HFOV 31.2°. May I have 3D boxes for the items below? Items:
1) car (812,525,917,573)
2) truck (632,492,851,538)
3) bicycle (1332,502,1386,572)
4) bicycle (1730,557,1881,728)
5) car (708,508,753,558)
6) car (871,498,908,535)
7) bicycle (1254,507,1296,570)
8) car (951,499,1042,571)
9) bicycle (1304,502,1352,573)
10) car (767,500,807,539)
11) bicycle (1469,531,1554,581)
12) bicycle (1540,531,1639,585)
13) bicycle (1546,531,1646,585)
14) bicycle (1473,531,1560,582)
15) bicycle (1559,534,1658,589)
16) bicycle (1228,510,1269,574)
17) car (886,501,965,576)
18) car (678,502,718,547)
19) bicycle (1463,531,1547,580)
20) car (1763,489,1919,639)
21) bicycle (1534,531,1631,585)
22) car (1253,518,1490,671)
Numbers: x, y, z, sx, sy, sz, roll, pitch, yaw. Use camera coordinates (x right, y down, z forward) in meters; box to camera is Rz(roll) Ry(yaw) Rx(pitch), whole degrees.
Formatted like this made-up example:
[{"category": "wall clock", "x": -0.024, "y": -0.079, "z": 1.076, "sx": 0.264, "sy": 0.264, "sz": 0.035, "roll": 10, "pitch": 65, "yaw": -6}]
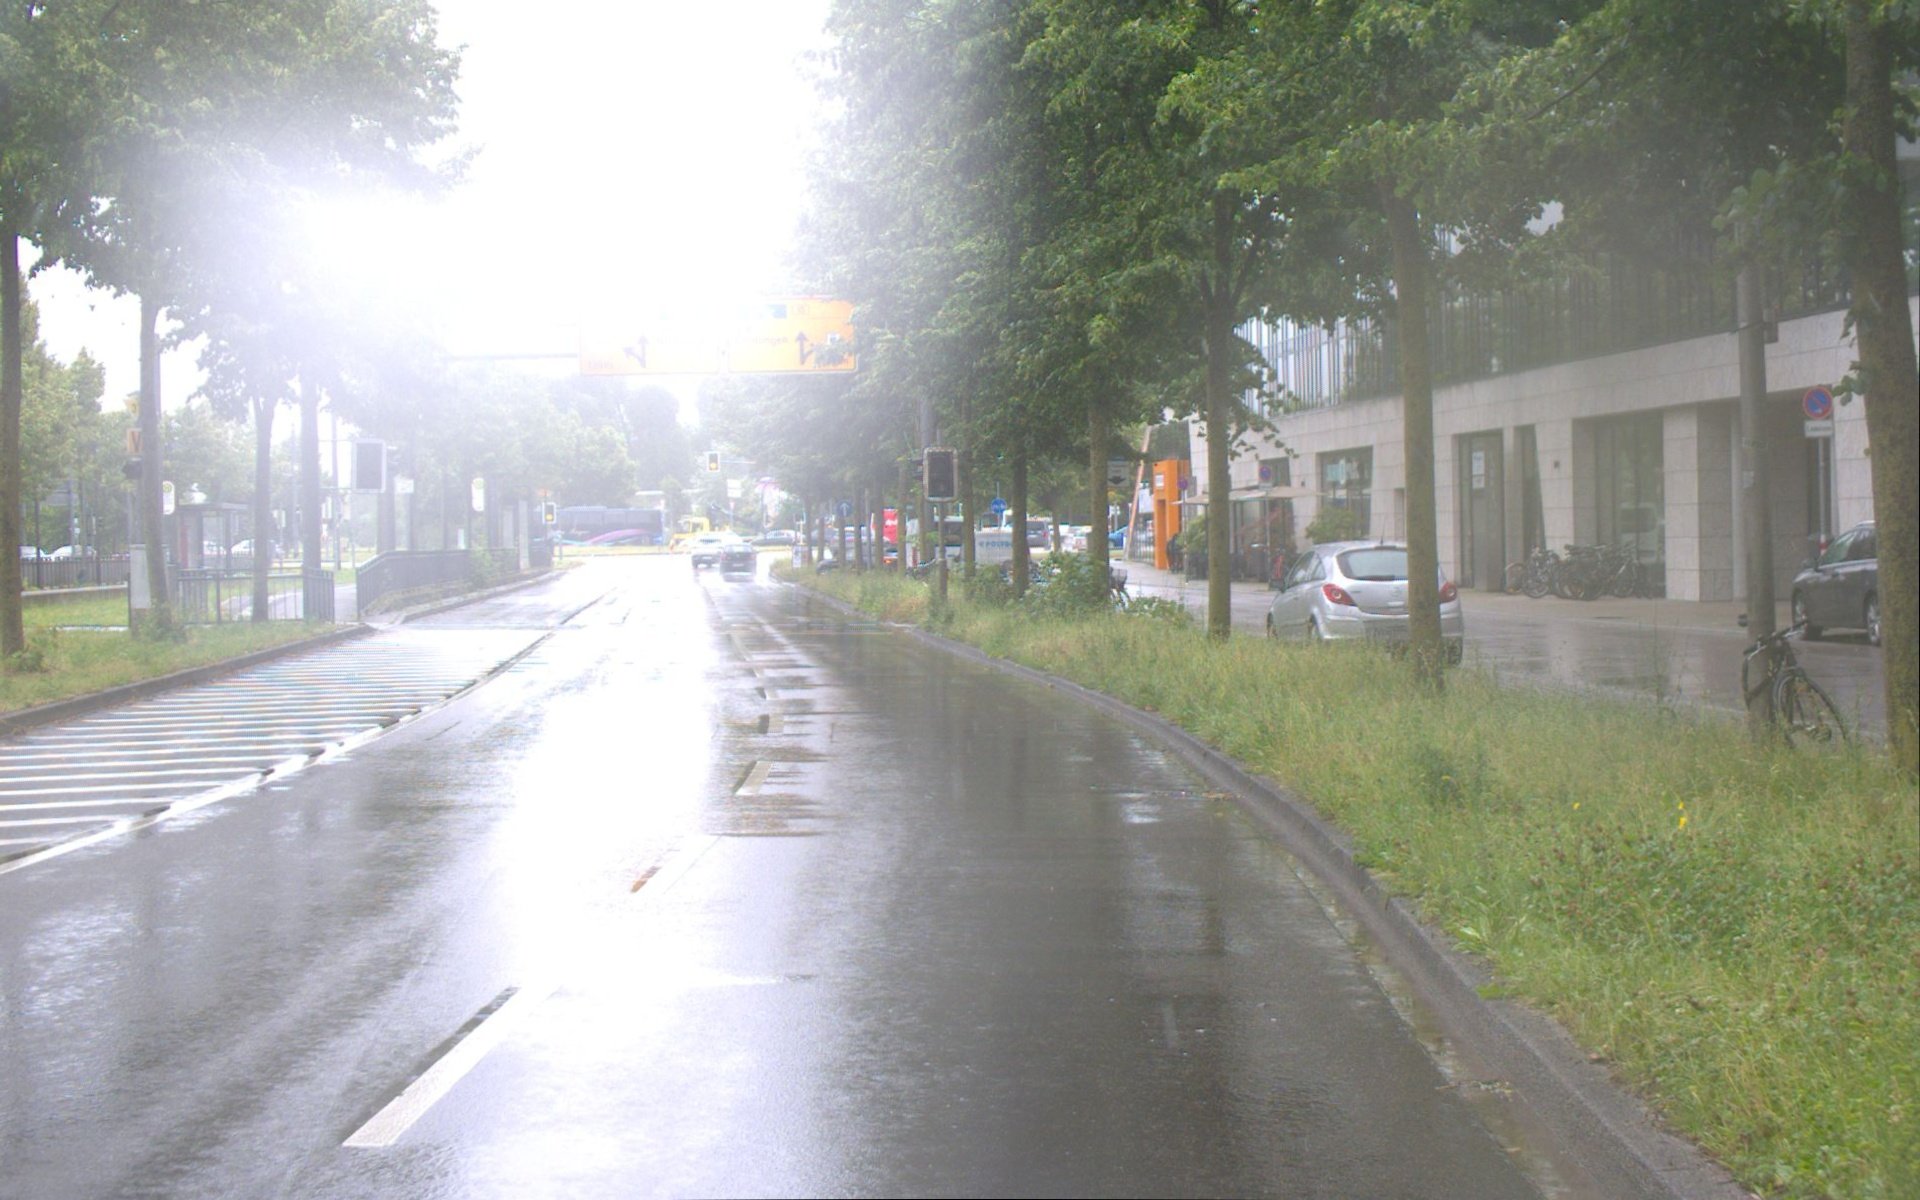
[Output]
[{"category": "car", "x": -3.454, "y": -1.837, "z": 123.777, "sx": 1.815, "sy": 1.539, "sz": 4.000, "roll": -3, "pitch": 4, "yaw": -37}, {"category": "truck", "x": -15.139, "y": -5.871, "z": 238.173, "sx": 14.854, "sy": 3.136, "sz": 3.524, "roll": 0, "pitch": 1, "yaw": -11}, {"category": "bicycle", "x": 10.452, "y": -1.666, "z": 90.205, "sx": 0.772, "sy": 1.716, "sz": 3.121, "roll": -1, "pitch": 3, "yaw": -5}, {"category": "bicycle", "x": 4.749, "y": 0.215, "z": 19.393, "sx": 0.342, "sy": 0.819, "sz": 1.903, "roll": -1, "pitch": 3, "yaw": -1}, {"category": "car", "x": -10.223, "y": -2.983, "z": 152.736, "sx": 1.940, "sy": 2.006, "sz": 4.001, "roll": -1, "pitch": 3, "yaw": -4}, {"category": "car", "x": -4.151, "y": -4.923, "z": 202.545, "sx": 1.993, "sy": 2.006, "sz": 4.001, "roll": -1, "pitch": 3, "yaw": -3}, {"category": "bicycle", "x": 9.166, "y": -1.803, "z": 100.126, "sx": 0.644, "sy": 1.716, "sz": 3.121, "roll": -1, "pitch": 3, "yaw": -5}, {"category": "car", "x": 0.918, "y": -1.706, "z": 89.184, "sx": 1.906, "sy": 1.785, "sz": 4.689, "roll": -1, "pitch": 1, "yaw": -5}, {"category": "bicycle", "x": 9.655, "y": -1.663, "z": 90.322, "sx": 0.644, "sy": 1.716, "sz": 3.121, "roll": -1, "pitch": 3, "yaw": -5}, {"category": "car", "x": -9.565, "y": -4.467, "z": 190.413, "sx": 1.993, "sy": 2.006, "sz": 4.001, "roll": -1, "pitch": 3, "yaw": -1}, {"category": "bicycle", "x": 11.624, "y": -0.927, "z": 72.452, "sx": 1.694, "sy": 1.025, "sz": 0.423, "roll": -1, "pitch": 1, "yaw": -2}, {"category": "bicycle", "x": 12.267, "y": -0.819, "z": 67.022, "sx": 1.806, "sy": 1.025, "sz": 0.541, "roll": -1, "pitch": 1, "yaw": -2}, {"category": "bicycle", "x": 12.277, "y": -0.812, "z": 66.412, "sx": 1.806, "sy": 1.025, "sz": 0.541, "roll": -1, "pitch": 1, "yaw": -2}, {"category": "bicycle", "x": 11.643, "y": -0.908, "z": 71.944, "sx": 1.750, "sy": 1.025, "sz": 0.412, "roll": -1, "pitch": 1, "yaw": -2}, {"category": "bicycle", "x": 12.391, "y": -0.731, "z": 65.704, "sx": 1.806, "sy": 1.025, "sz": 0.401, "roll": -1, "pitch": 1, "yaw": -2}, {"category": "bicycle", "x": 8.406, "y": -1.707, "z": 100.223, "sx": 0.644, "sy": 1.716, "sz": 3.121, "roll": -1, "pitch": 3, "yaw": -5}, {"category": "car", "x": -1.107, "y": -1.953, "z": 107.712, "sx": 2.121, "sy": 2.266, "sz": 4.565, "roll": -1, "pitch": 1, "yaw": -5}, {"category": "car", "x": -12.769, "y": -3.697, "z": 167.634, "sx": 1.888, "sy": 2.006, "sz": 4.001, "roll": -1, "pitch": 3, "yaw": -4}, {"category": "bicycle", "x": 11.577, "y": -0.949, "z": 72.995, "sx": 1.694, "sy": 1.025, "sz": 0.423, "roll": -1, "pitch": 1, "yaw": -2}, {"category": "car", "x": 11.564, "y": -0.495, "z": 42.011, "sx": 1.993, "sy": 1.496, "sz": 5.035, "roll": -6, "pitch": 3, "yaw": -2}, {"category": "bicycle", "x": 12.242, "y": -0.834, "z": 67.628, "sx": 1.806, "sy": 1.025, "sz": 0.541, "roll": -1, "pitch": 1, "yaw": -2}, {"category": "car", "x": 4.773, "y": -0.116, "z": 40.493, "sx": 1.881, "sy": 1.500, "sz": 4.725, "roll": -1, "pitch": 4, "yaw": -4}]
